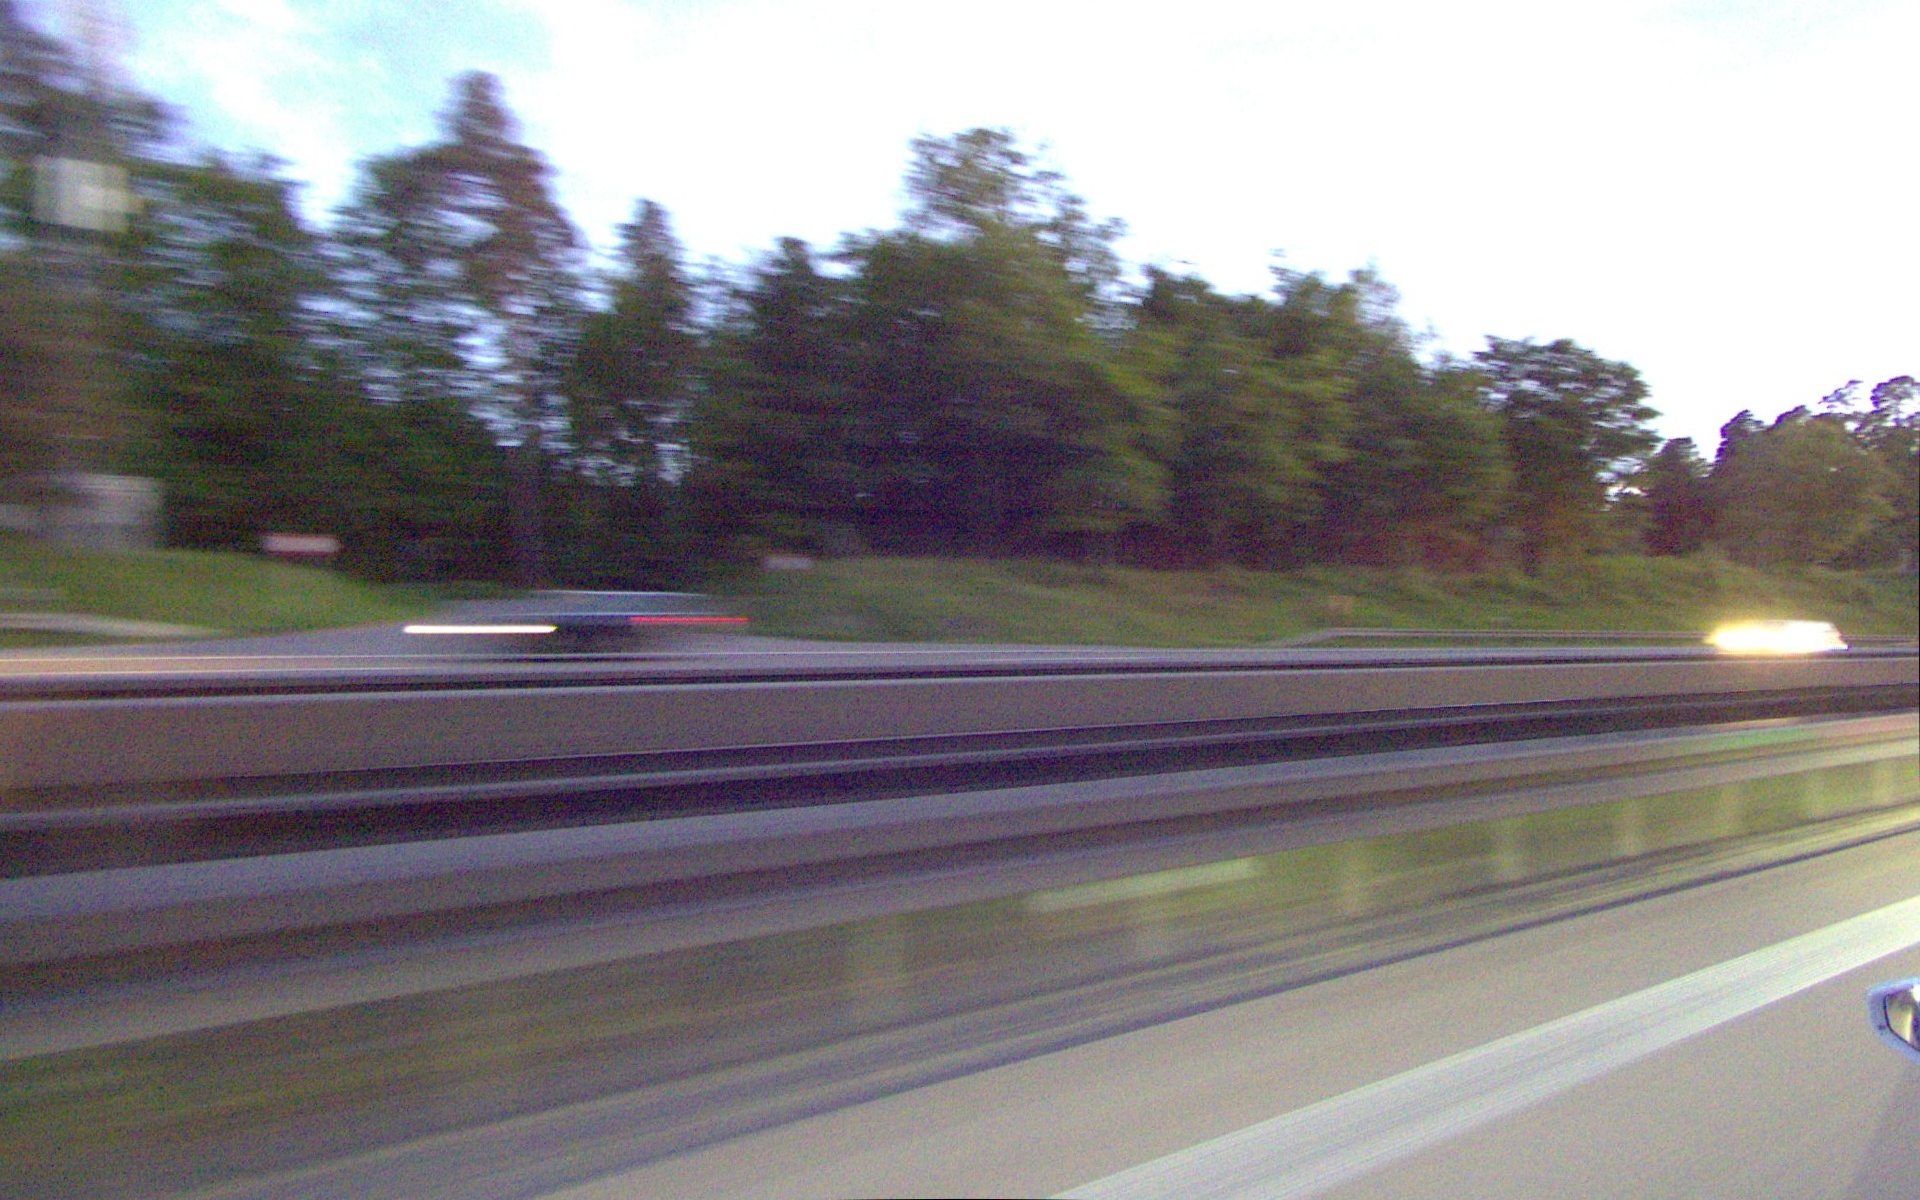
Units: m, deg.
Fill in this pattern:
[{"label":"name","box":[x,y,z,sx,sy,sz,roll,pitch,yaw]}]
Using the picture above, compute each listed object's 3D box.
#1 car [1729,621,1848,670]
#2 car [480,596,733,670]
[{"label":"car","box":[27.477,1.494,33.307,3.558,1.474,1.835,2,0,-29]},{"label":"car","box":[-7.505,0.689,21.502,4.851,1.399,1.805,2,0,-31]}]
